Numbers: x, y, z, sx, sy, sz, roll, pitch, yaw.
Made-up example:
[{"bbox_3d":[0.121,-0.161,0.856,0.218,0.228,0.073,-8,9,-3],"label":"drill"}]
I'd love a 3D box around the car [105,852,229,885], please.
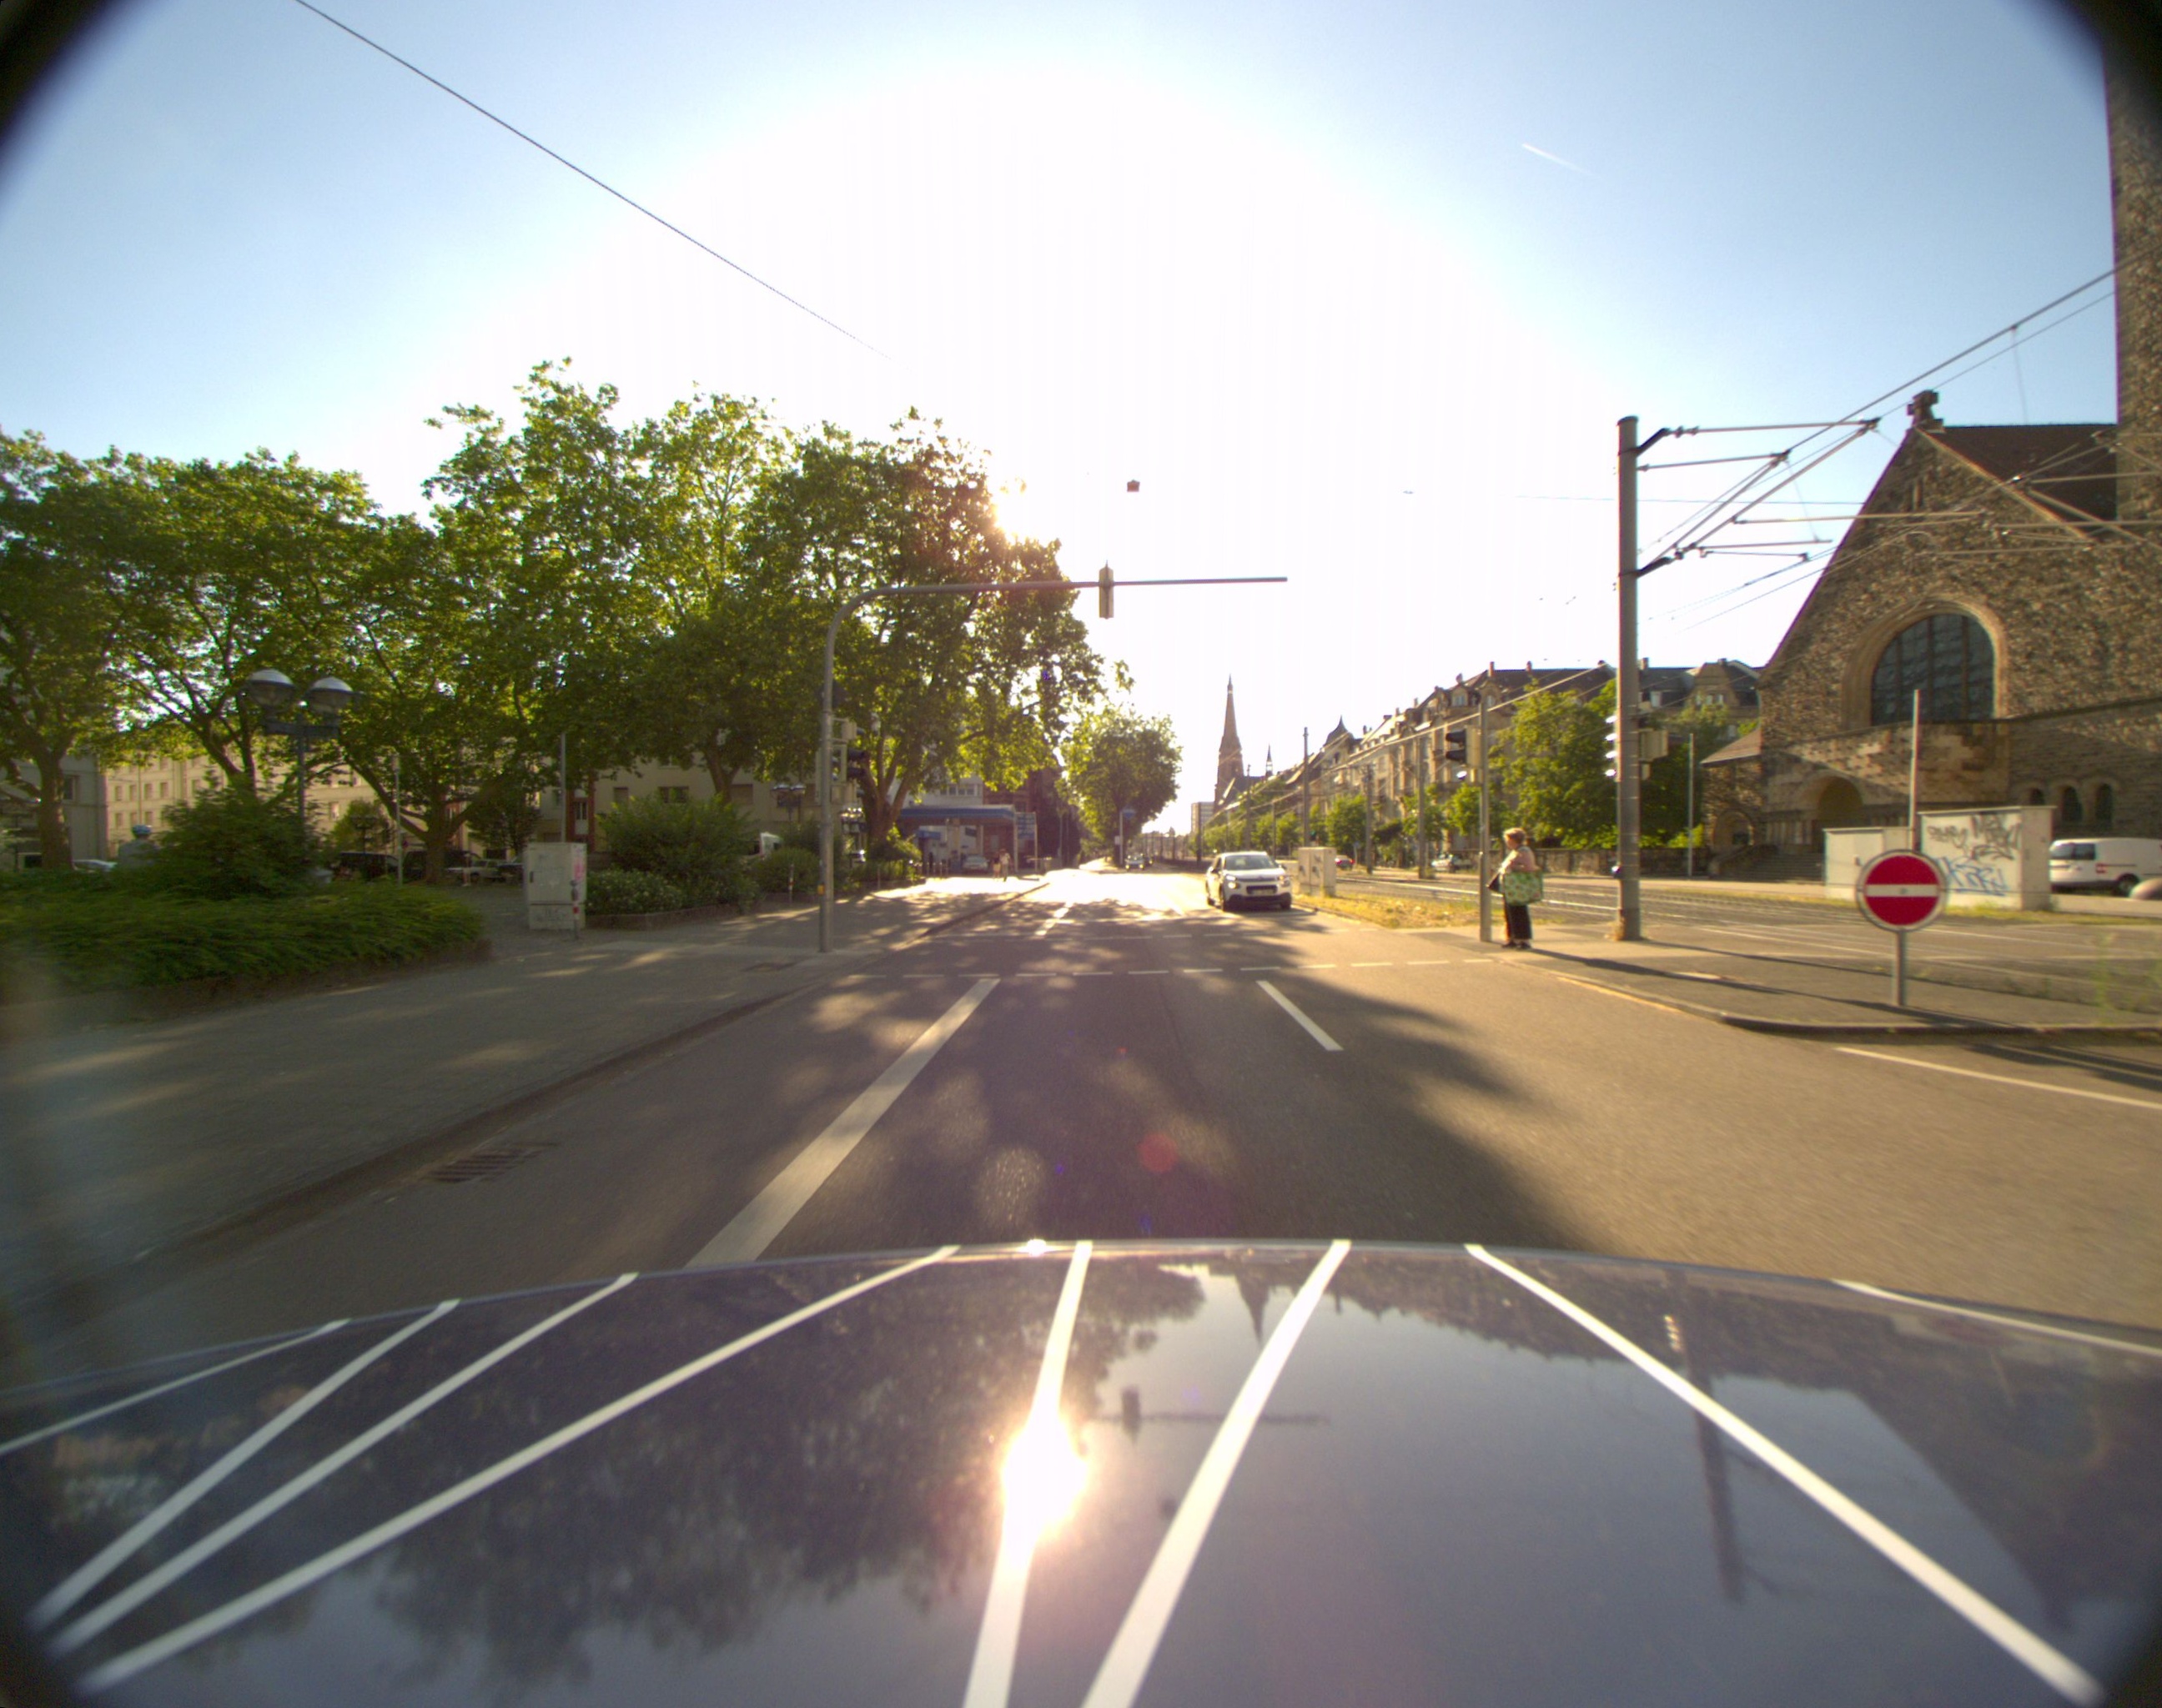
[{"bbox_3d":[-44.769,0.699,37.252,3.996,1.400,1.779,-2,1,3],"label":"car"}]

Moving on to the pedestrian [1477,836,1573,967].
[{"bbox_3d":[5.782,0.589,9.939,0.678,1.612,0.925,-2,1,0],"label":"pedestrian"}]

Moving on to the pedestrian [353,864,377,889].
[{"bbox_3d":[-35.722,1.129,37.921,0.632,1.219,0.539,-3,1,-18],"label":"pedestrian"}]

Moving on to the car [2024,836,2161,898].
[{"bbox_3d":[33.950,0.391,24.724,4.023,1.795,1.870,-2,1,3],"label":"car"}]

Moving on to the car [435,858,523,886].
[{"bbox_3d":[-34.290,1.001,43.434,1.710,1.493,4.179,-1,0,0],"label":"car"}]

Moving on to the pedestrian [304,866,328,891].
[{"bbox_3d":[-38.023,1.225,37.769,0.632,1.219,0.539,-3,1,-23],"label":"pedestrian"}]

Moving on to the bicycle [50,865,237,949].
[{"bbox_3d":[-14.833,0.803,12.102,1.725,1.156,0.697,-3,1,-41],"label":"bicycle"}]

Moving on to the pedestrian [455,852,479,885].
[{"bbox_3d":[-30.110,0.710,37.267,0.539,1.604,0.631,-2,1,3],"label":"pedestrian"}]

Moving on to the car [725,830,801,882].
[{"bbox_3d":[-17.945,0.089,43.185,1.998,2.726,4.715,-2,1,3],"label":"car"}]

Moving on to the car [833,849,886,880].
[{"bbox_3d":[-12.618,0.584,43.566,1.806,1.649,4.179,-1,0,0],"label":"car"}]

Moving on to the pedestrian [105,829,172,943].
[{"bbox_3d":[-15.245,0.502,12.303,0.624,1.775,0.556,-1,1,44],"label":"pedestrian"}]

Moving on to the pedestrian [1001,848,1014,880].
[{"bbox_3d":[-4.285,0.555,44.274,0.631,1.833,0.540,-2,1,1],"label":"pedestrian"}]

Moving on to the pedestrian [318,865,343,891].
[{"bbox_3d":[-37.045,1.187,37.497,0.632,1.219,0.539,-3,1,-15],"label":"pedestrian"}]

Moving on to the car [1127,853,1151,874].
[{"bbox_3d":[5.822,0.936,76.778,2.315,1.957,4.790,1,1,3],"label":"car"}]

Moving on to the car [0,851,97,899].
[{"bbox_3d":[-45.018,0.915,32.189,3.996,1.905,2.048,-2,1,3],"label":"car"}]

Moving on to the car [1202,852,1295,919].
[{"bbox_3d":[4.278,0.735,19.978,1.636,1.491,4.000,-2,1,2],"label":"car"}]

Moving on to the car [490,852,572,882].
[{"bbox_3d":[-31.579,0.729,43.771,1.710,1.650,4.179,-1,0,0],"label":"car"}]

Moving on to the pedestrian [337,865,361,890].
[{"bbox_3d":[-36.373,1.157,37.753,0.632,1.219,0.539,-3,1,-15],"label":"pedestrian"}]

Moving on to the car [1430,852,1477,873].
[{"bbox_3d":[29.424,0.648,60.110,1.786,1.521,4.214,-2,1,3],"label":"car"}]

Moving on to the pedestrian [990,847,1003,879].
[{"bbox_3d":[-4.937,0.500,44.374,0.631,1.833,0.540,-2,1,1],"label":"pedestrian"}]

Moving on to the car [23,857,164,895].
[{"bbox_3d":[-44.924,0.991,34.643,3.996,1.513,1.922,-2,1,3],"label":"car"}]

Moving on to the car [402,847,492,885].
[{"bbox_3d":[-36.634,0.676,44.070,1.710,2.015,4.179,-1,0,0],"label":"car"}]

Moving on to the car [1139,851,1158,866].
[{"bbox_3d":[8.920,0.598,100.737,2.315,1.957,4.790,1,1,3],"label":"car"}]

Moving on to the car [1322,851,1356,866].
[{"bbox_3d":[25.295,0.421,74.708,1.998,1.419,4.554,1,1,3],"label":"car"}]

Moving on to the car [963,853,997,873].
[{"bbox_3d":[-7.234,0.633,54.887,1.720,1.319,3.754,-2,1,3],"label":"car"}]
